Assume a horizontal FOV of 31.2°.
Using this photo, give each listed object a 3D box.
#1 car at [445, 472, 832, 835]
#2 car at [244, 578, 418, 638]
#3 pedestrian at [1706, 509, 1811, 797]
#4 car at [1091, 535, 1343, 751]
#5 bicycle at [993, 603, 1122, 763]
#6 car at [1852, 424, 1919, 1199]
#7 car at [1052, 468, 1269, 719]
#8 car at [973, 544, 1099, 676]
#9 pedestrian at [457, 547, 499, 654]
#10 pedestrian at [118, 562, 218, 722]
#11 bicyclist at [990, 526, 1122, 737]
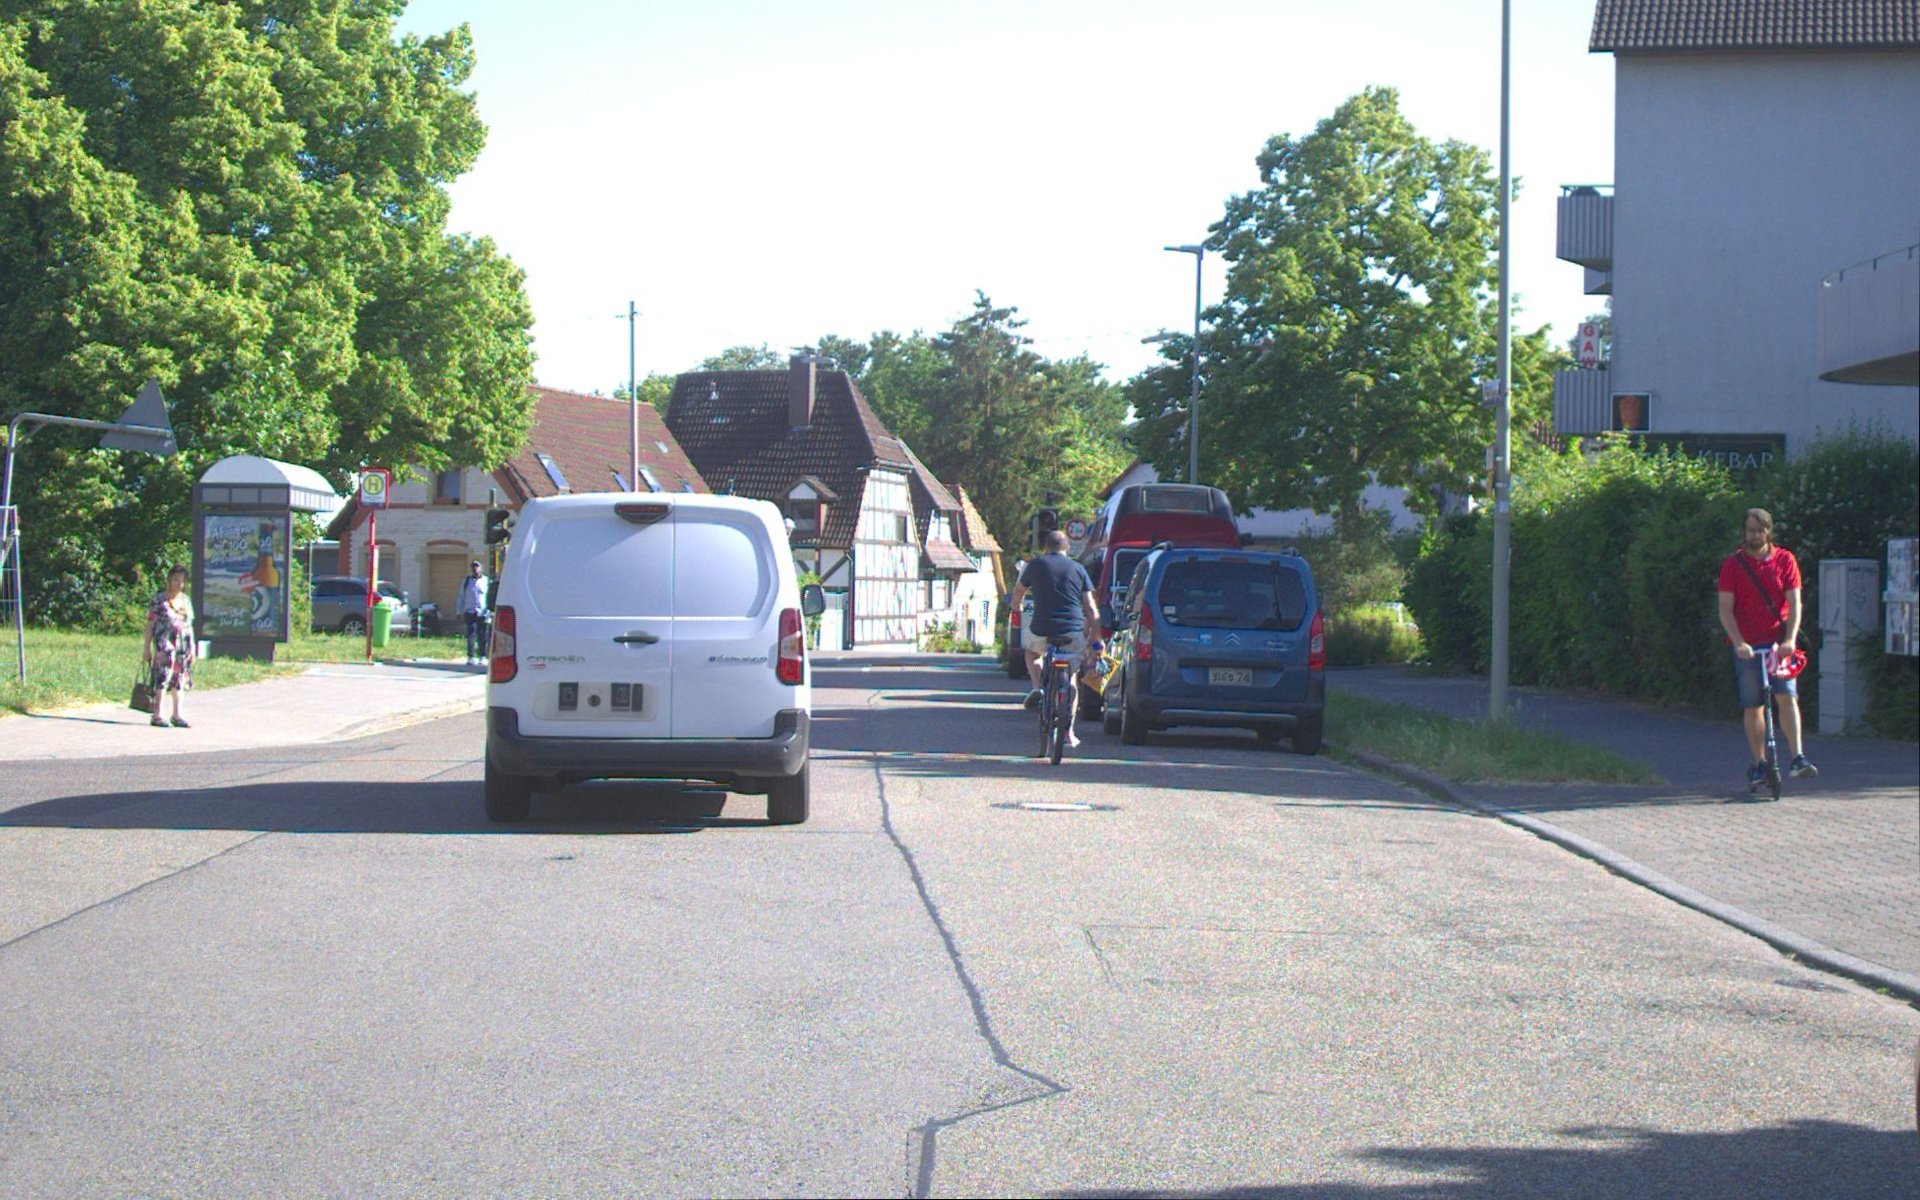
[{"bbox_3d":[-1.851,0.257,20.289,1.993,1.875,4.289,1,1,-4],"label":"car"},{"bbox_3d":[-16.007,0.195,87.521,3.980,1.424,1.714,2,0,17],"label":"car"},{"bbox_3d":[5.168,0.336,22.265,0.483,1.825,0.486,-2,1,-2],"label":"pedestrian"},{"bbox_3d":[2.306,0.383,31.855,1.804,1.779,4.000,3,0,-2],"label":"car"},{"bbox_3d":[0.731,0.617,26.616,0.786,1.135,2.280,1,1,-3],"label":"bicycle"},{"bbox_3d":[2.756,0.596,5.251,1.724,1.831,4.000,1,0,0],"label":"car"},{"bbox_3d":[2.193,-0.062,38.785,1.866,2.554,4.768,3,0,-2],"label":"car"},{"bbox_3d":[1.250,0.176,58.198,1.804,2.062,4.000,3,0,-2],"label":"car"},{"bbox_3d":[-8.150,0.012,58.142,0.621,1.799,0.640,1,-1,-2],"label":"pedestrian"},{"bbox_3d":[-7.356,0.389,31.928,0.510,1.441,0.638,4,1,32],"label":"pedestrian"},{"bbox_3d":[0.733,0.240,26.587,0.905,1.579,0.966,2,0,-3],"label":"bicyclist"}]
